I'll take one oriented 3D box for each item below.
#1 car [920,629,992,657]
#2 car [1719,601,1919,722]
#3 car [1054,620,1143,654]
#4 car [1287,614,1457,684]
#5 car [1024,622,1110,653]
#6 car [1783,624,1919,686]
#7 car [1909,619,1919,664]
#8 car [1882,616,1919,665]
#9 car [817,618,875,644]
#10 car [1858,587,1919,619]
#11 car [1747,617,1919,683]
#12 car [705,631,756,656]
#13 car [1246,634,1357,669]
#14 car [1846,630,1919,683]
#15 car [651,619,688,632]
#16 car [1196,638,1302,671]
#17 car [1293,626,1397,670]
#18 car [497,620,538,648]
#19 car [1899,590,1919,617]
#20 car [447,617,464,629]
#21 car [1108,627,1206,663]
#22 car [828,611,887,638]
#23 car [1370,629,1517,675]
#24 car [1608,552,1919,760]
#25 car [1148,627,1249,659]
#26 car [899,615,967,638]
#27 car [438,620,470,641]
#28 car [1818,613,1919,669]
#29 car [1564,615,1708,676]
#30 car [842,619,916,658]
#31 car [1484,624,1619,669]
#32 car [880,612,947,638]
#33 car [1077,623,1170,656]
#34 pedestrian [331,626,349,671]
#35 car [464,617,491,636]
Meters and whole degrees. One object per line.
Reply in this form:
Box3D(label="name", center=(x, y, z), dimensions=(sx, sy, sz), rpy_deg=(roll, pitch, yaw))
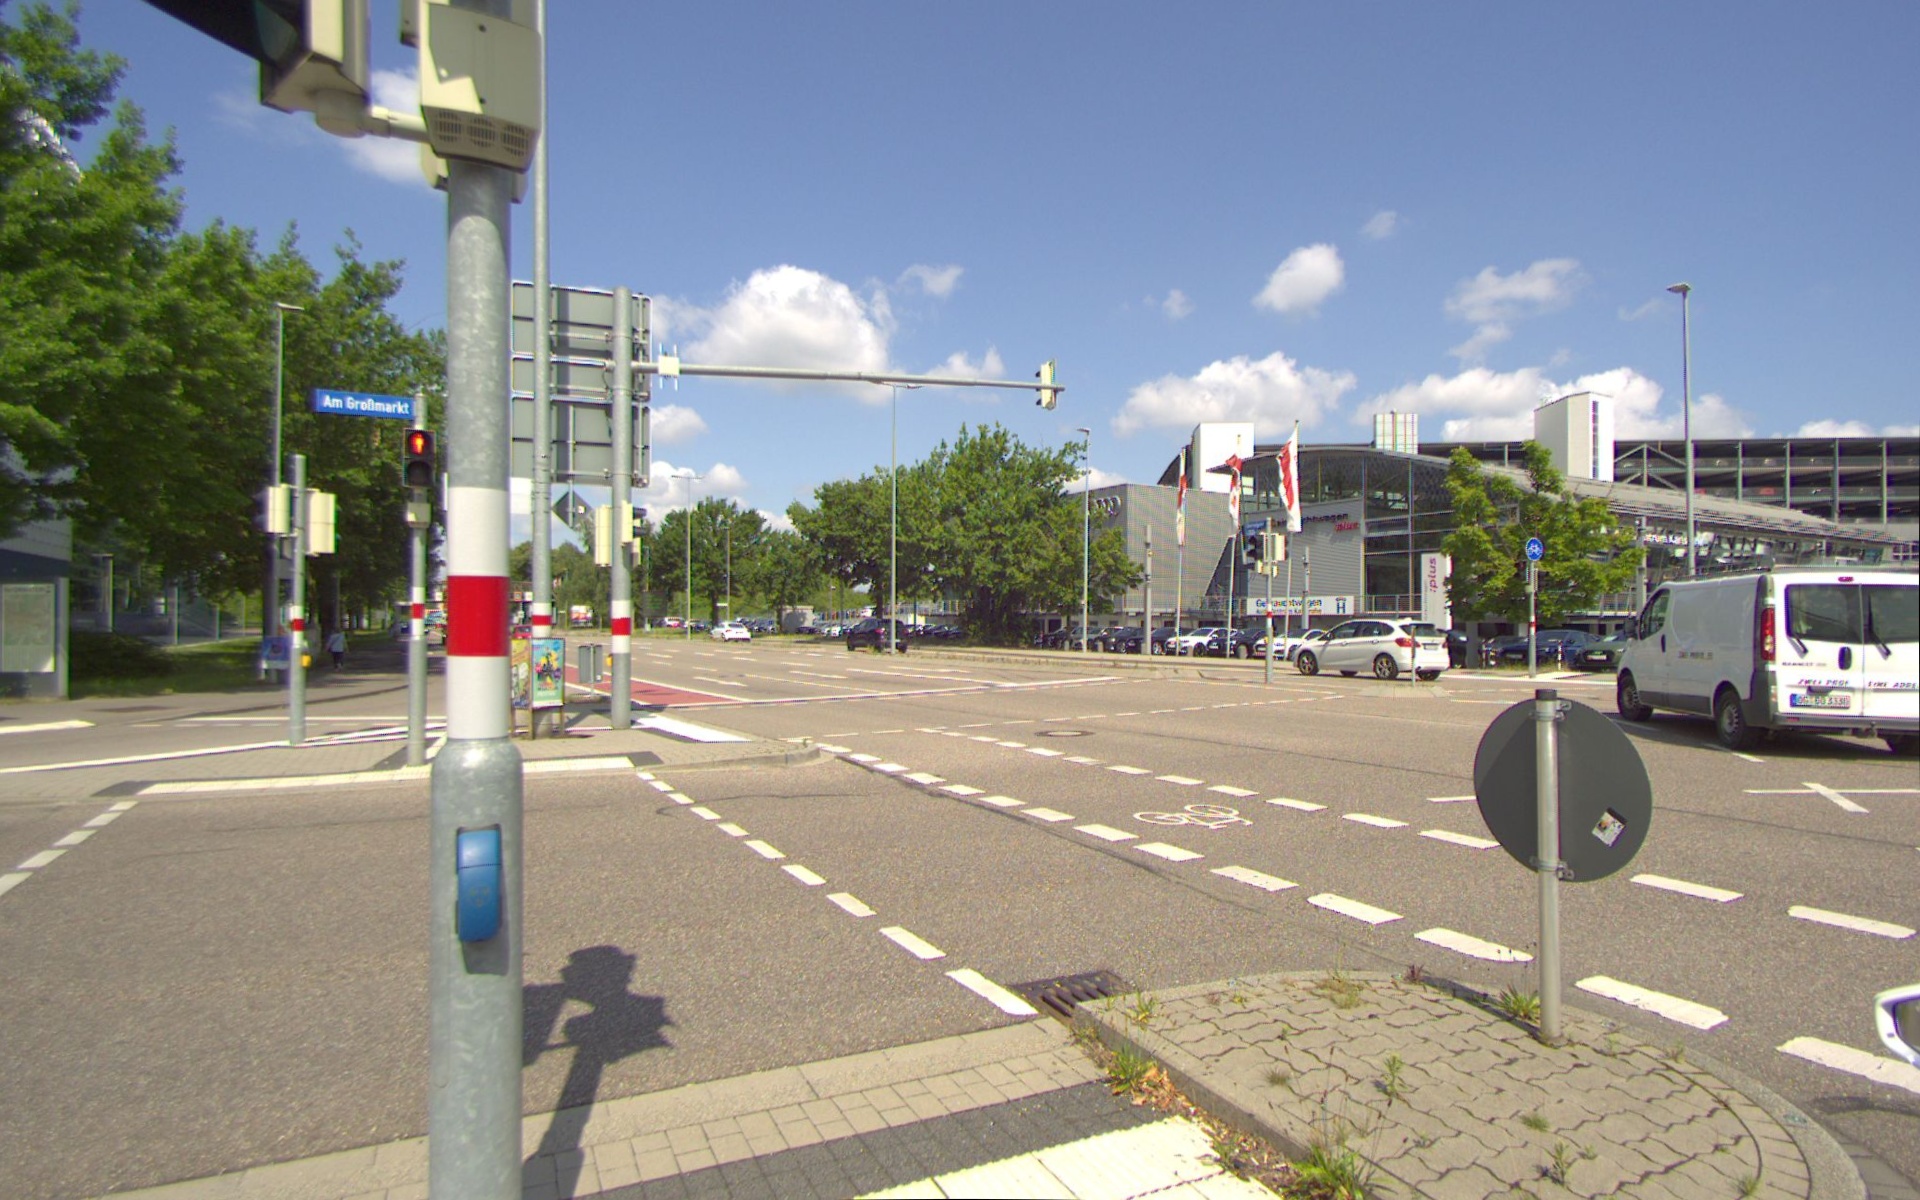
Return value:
Box3D(label="car", center=(-0.282, 2.922, 68.007), dimensions=(4.537, 1.700, 1.891), rpy_deg=(3, -1, -31))
Box3D(label="car", center=(14.077, 0.902, 15.775), dimensions=(1.743, 1.651, 4.003), rpy_deg=(1, -1, 9))
Box3D(label="car", center=(7.458, 1.998, 53.968), dimensions=(4.539, 1.423, 1.891), rpy_deg=(6, -2, -31))
Box3D(label="car", center=(10.896, 1.259, 26.851), dimensions=(1.755, 1.639, 3.970), rpy_deg=(2, -1, -28))
Box3D(label="car", center=(6.040, 2.111, 56.433), dimensions=(4.538, 1.423, 1.891), rpy_deg=(4, -1, -31))
Box3D(label="car", center=(28.340, 1.689, 30.706), dimensions=(1.884, 1.700, 4.555), rpy_deg=(2, -1, -28))
Box3D(label="car", center=(37.893, 1.630, 36.504), dimensions=(1.884, 1.700, 4.555), rpy_deg=(2, -1, -28))
Box3D(label="car", center=(35.580, 1.498, 35.112), dimensions=(1.884, 1.700, 4.555), rpy_deg=(2, -1, -28))
Box3D(label="car", center=(-9.855, 2.652, 86.775), dimensions=(4.537, 2.076, 1.891), rpy_deg=(3, 0, -31))
Box3D(label="car", center=(55.335, 0.170, 58.349), dimensions=(1.745, 1.825, 4.418), rpy_deg=(2, -1, -31))
Box3D(label="car", center=(26.302, 1.445, 29.560), dimensions=(1.884, 1.700, 4.555), rpy_deg=(2, -1, -28))
Box3D(label="car", center=(-14.957, 2.822, 65.404), dimensions=(1.842, 1.461, 3.961), rpy_deg=(3, -1, -35))
Box3D(label="car", center=(14.278, 2.149, 41.948), dimensions=(4.537, 1.314, 1.891), rpy_deg=(3, -1, -31))
Box3D(label="car", center=(33.218, 1.984, 33.917), dimensions=(1.884, 1.700, 4.555), rpy_deg=(2, -1, -28))
Box3D(label="car", center=(-39.143, 3.396, 135.404), dimensions=(4.321, 1.533, 1.919), rpy_deg=(3, -1, -32))
Box3D(label="car", center=(12.816, 2.412, 44.489), dimensions=(4.537, 1.314, 1.891), rpy_deg=(3, -1, -31))
Box3D(label="car", center=(15.261, 1.910, 39.754), dimensions=(3.955, 1.483, 1.781), rpy_deg=(5, -4, -31))
Box3D(label="car", center=(-28.827, 2.192, 65.336), dimensions=(1.829, 1.622, 4.525), rpy_deg=(2, -1, -32))
Box3D(label="car", center=(59.681, 0.226, 60.743), dimensions=(1.749, 1.572, 3.957), rpy_deg=(3, -1, -37))
Box3D(label="car", center=(-79.904, 3.652, 159.072), dimensions=(1.912, 1.778, 4.781), rpy_deg=(2, -2, -31))
Box3D(label="car", center=(9.667, 2.213, 49.202), dimensions=(4.539, 1.314, 1.891), rpy_deg=(6, -2, -31))
Box3D(label="car", center=(-8.600, 2.077, 84.356), dimensions=(4.537, 2.076, 1.891), rpy_deg=(3, 0, -31))
Box3D(label="car", center=(17.782, 1.902, 37.166), dimensions=(1.776, 1.483, 4.717), rpy_deg=(5, -4, -30))
Box3D(label="car", center=(9.923, 0.612, 12.455), dimensions=(1.940, 2.087, 4.566), rpy_deg=(1, -1, 17))
Box3D(label="car", center=(11.107, 1.993, 46.702), dimensions=(4.537, 1.314, 1.891), rpy_deg=(3, -1, -31))
Box3D(label="car", center=(-1.892, 1.869, 70.884), dimensions=(4.537, 1.518, 1.892), rpy_deg=(2, -2, -31))
Box3D(label="car", center=(-38.660, 2.318, 76.772), dimensions=(1.870, 1.575, 4.561), rpy_deg=(1, -2, -23))
Box3D(label="car", center=(31.091, 1.367, 32.605), dimensions=(1.884, 1.700, 4.555), rpy_deg=(2, -1, -28))
Box3D(label="car", center=(20.753, 1.406, 30.814), dimensions=(4.537, 1.700, 1.891), rpy_deg=(3, -1, -31))
Box3D(label="car", center=(-3.908, 1.799, 47.881), dimensions=(1.758, 1.639, 4.231), rpy_deg=(2, -1, -31))
Box3D(label="car", center=(19.525, 1.542, 33.105), dimensions=(4.537, 1.314, 1.891), rpy_deg=(3, -1, -31))
Box3D(label="car", center=(-3.367, 1.841, 73.219), dimensions=(4.537, 1.700, 1.891), rpy_deg=(3, -1, -31))
Box3D(label="car", center=(8.373, 2.013, 51.342), dimensions=(4.538, 1.402, 1.891), rpy_deg=(5, -2, -31))
Box3D(label="pedestrian", center=(-22.098, 1.723, 35.825), dimensions=(0.498, 1.576, 0.755), rpy_deg=(1, -1, -30))
Box3D(label="car", center=(-47.645, 2.602, 99.148), dimensions=(1.912, 1.778, 4.781), rpy_deg=(-1, 0, -31))
